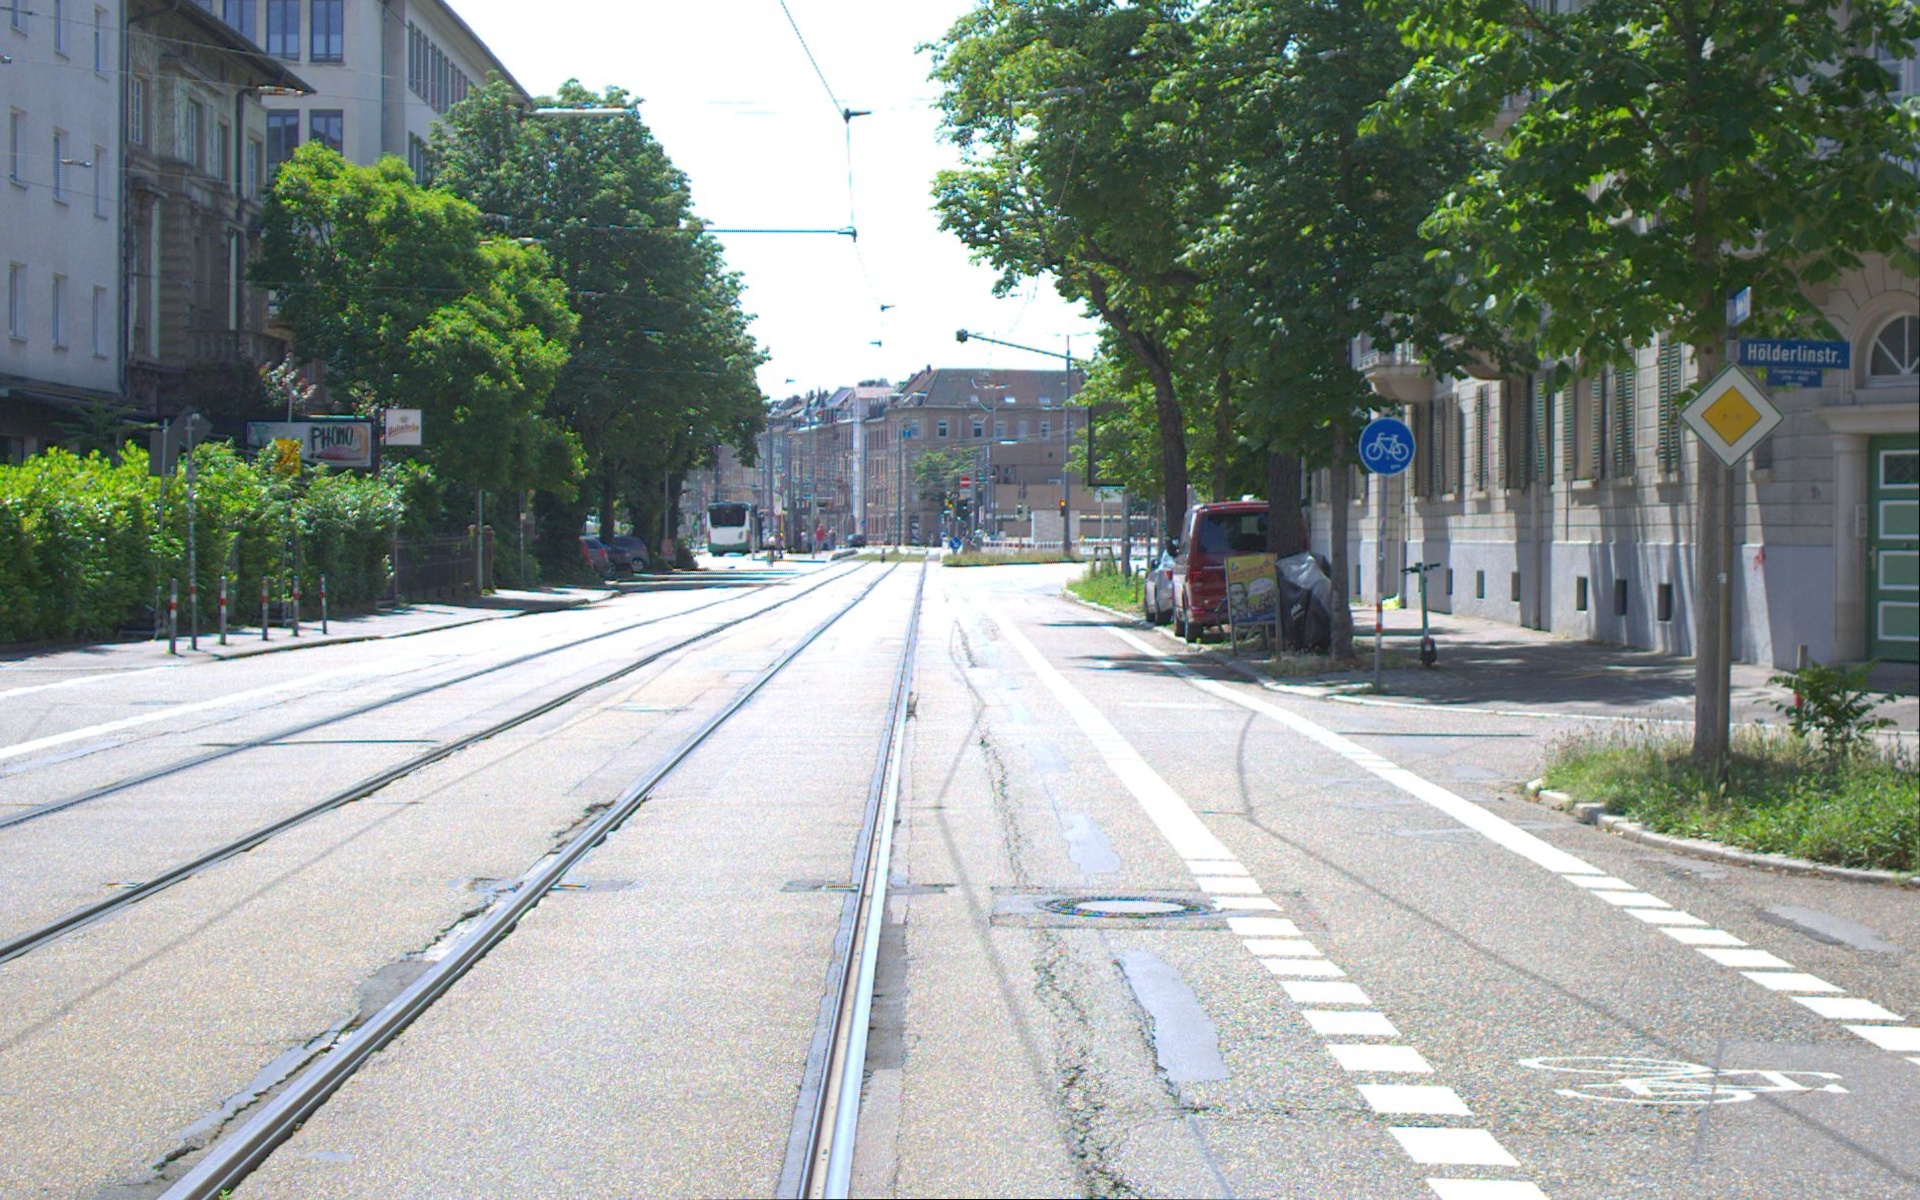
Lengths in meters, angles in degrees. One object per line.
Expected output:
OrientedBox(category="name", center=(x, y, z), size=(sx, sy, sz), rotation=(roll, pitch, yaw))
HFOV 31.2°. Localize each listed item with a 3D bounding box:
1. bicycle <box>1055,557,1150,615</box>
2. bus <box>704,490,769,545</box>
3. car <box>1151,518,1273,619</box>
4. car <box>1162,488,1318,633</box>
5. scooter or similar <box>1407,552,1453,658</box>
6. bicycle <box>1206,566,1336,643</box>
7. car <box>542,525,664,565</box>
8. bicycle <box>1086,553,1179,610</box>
OrientedBox(category="bicycle", center=(2.529, -0.255, 60.948), size=(1.658, 1.012, 0.371), rotation=(0, 1, 1))
OrientedBox(category="bus", center=(-13.674, -5.006, 211.539), size=(3.010, 3.147, 17.499), rotation=(1, 1, -1))
OrientedBox(category="car", center=(4.230, -0.566, 58.313), size=(1.860, 1.571, 4.878), rotation=(1, 2, 2))
OrientedBox(category="car", center=(4.045, -0.570, 50.419), size=(1.859, 2.007, 4.976), rotation=(1, 0, 0))
OrientedBox(category="scooter or similar", center=(5.236, 0.046, 38.338), size=(0.295, 1.157, 1.252), rotation=(0, 1, -2))
OrientedBox(category="bicycle", center=(4.196, 0.058, 46.392), size=(1.696, 1.018, 0.365), rotation=(-1, 1, -6))
OrientedBox(category="car", center=(-12.535, -1.948, 120.713), size=(3.920, 1.369, 1.670), rotation=(-1, 2, -26))
OrientedBox(category="bicycle", center=(3.130, -0.335, 62.438), size=(1.658, 1.012, 0.371), rotation=(0, 1, 1))
